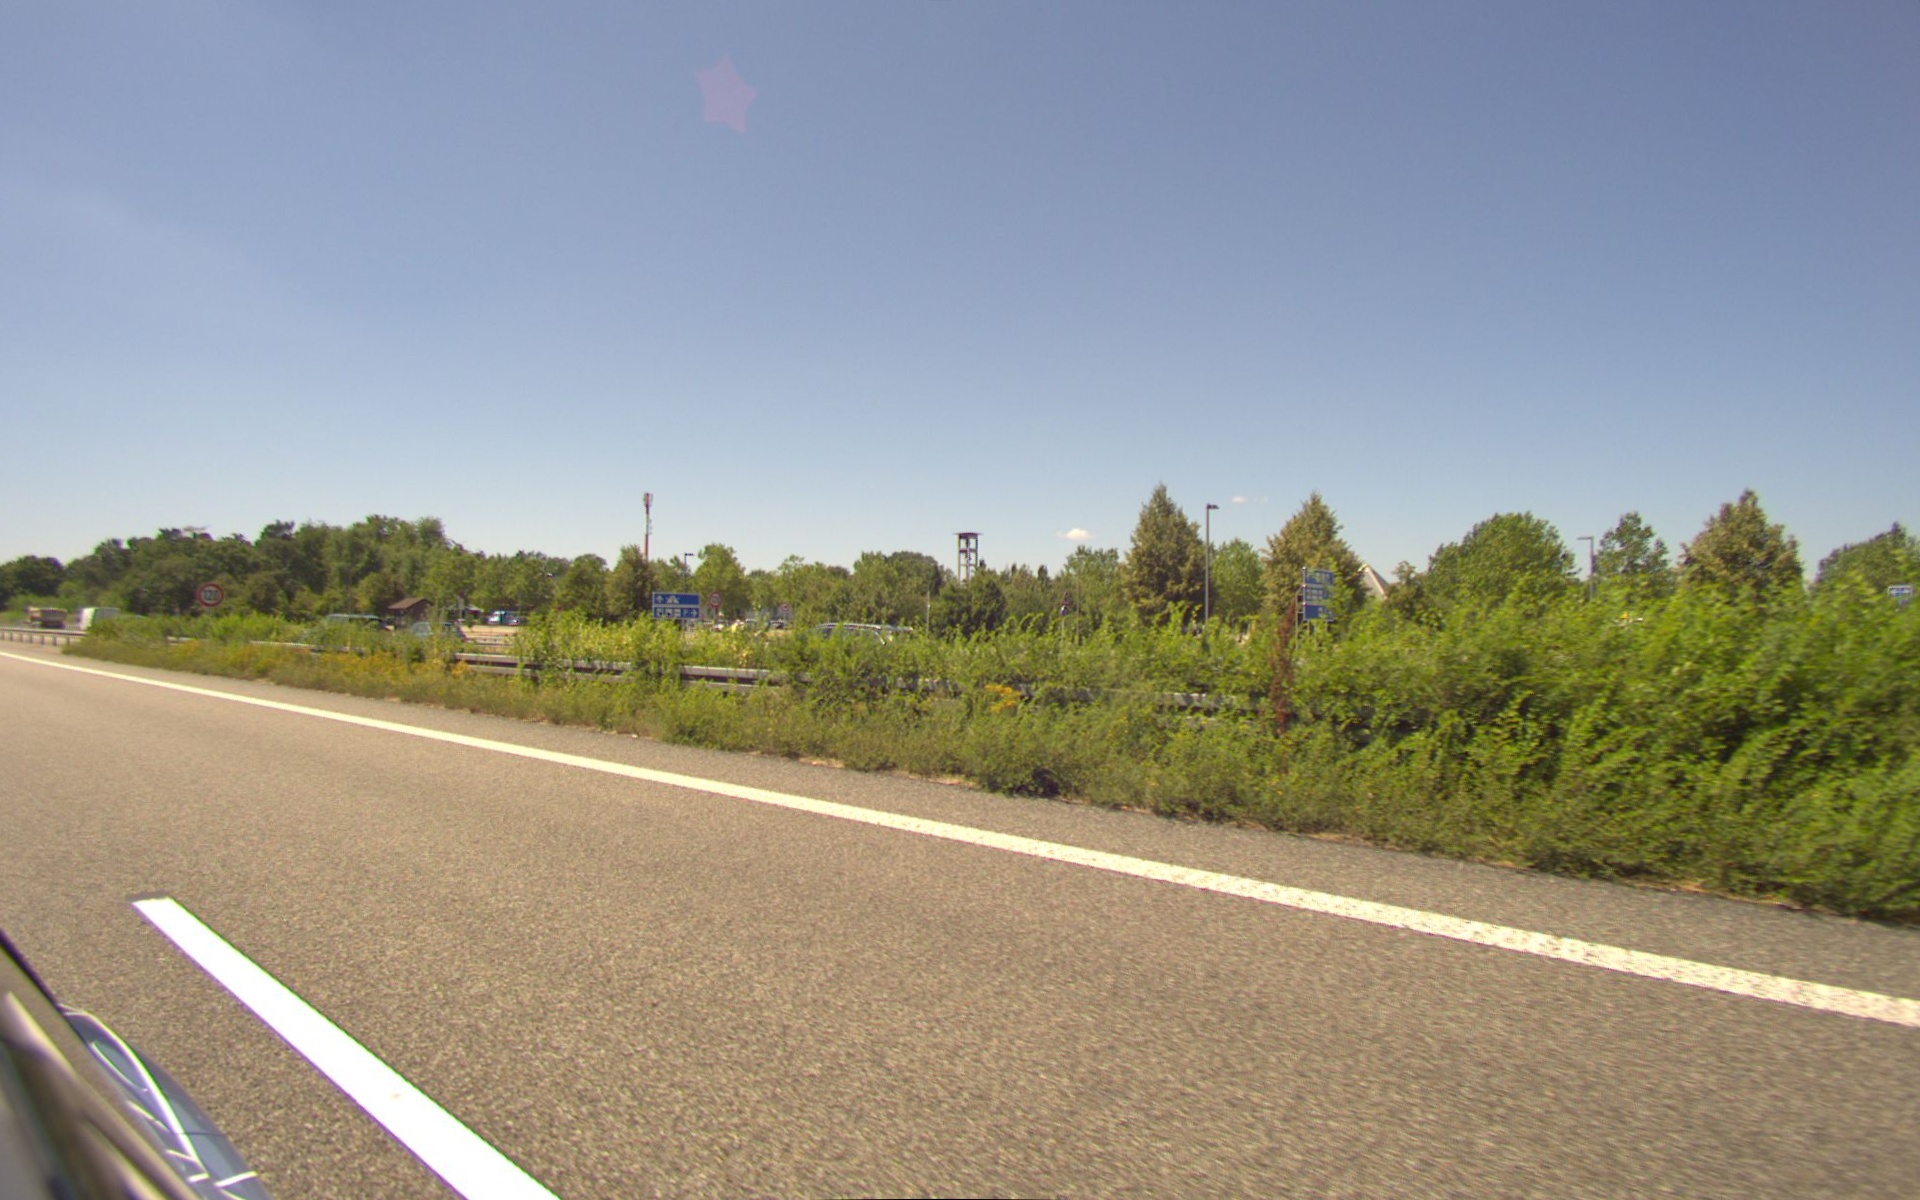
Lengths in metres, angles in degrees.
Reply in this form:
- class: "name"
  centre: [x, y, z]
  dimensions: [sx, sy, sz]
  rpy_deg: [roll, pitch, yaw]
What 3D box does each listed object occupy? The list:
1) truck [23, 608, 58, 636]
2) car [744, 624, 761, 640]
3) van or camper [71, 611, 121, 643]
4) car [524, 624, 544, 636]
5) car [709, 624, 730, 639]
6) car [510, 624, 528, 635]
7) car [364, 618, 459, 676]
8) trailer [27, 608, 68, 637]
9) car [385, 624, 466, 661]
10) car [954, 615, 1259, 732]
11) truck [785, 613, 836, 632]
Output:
- class: "truck"
  centre: [-120.145, 2.868, 132.190]
  dimensions: [5.642, 3.542, 2.754]
  rpy_deg: [-1, 0, 41]
- class: "car"
  centre: [-23.870, 3.674, 116.407]
  dimensions: [1.521, 1.620, 3.289]
  rpy_deg: [-1, 0, -19]
- class: "van or camper"
  centre: [-75.133, 2.307, 87.952]
  dimensions: [6.363, 2.601, 2.393]
  rpy_deg: [-1, -1, 41]
- class: "car"
  centre: [-63.489, 4.483, 150.994]
  dimensions: [1.479, 1.621, 3.107]
  rpy_deg: [-1, 0, 5]
- class: "car"
  centre: [-28.593, 3.707, 120.455]
  dimensions: [1.527, 1.684, 3.399]
  rpy_deg: [-1, 0, 2]
- class: "car"
  centre: [-67.692, 4.538, 155.374]
  dimensions: [1.475, 1.621, 3.114]
  rpy_deg: [-1, 0, -2]
- class: "car"
  centre: [-17.594, 1.439, 32.421]
  dimensions: [3.590, 1.723, 1.684]
  rpy_deg: [-1, -1, 44]
- class: "trailer"
  centre: [-116.149, 2.813, 128.759]
  dimensions: [9.365, 3.542, 2.753]
  rpy_deg: [-1, 0, 41]
- class: "car"
  centre: [-21.894, 1.725, 41.404]
  dimensions: [3.849, 1.435, 1.527]
  rpy_deg: [-1, -3, 40]
- class: "car"
  centre: [2.259, 1.095, 16.444]
  dimensions: [4.694, 1.635, 1.786]
  rpy_deg: [-1, -3, 41]
- class: "truck"
  centre: [-21.210, 3.185, 143.697]
  dimensions: [6.833, 2.511, 2.140]
  rpy_deg: [-1, 0, -1]
